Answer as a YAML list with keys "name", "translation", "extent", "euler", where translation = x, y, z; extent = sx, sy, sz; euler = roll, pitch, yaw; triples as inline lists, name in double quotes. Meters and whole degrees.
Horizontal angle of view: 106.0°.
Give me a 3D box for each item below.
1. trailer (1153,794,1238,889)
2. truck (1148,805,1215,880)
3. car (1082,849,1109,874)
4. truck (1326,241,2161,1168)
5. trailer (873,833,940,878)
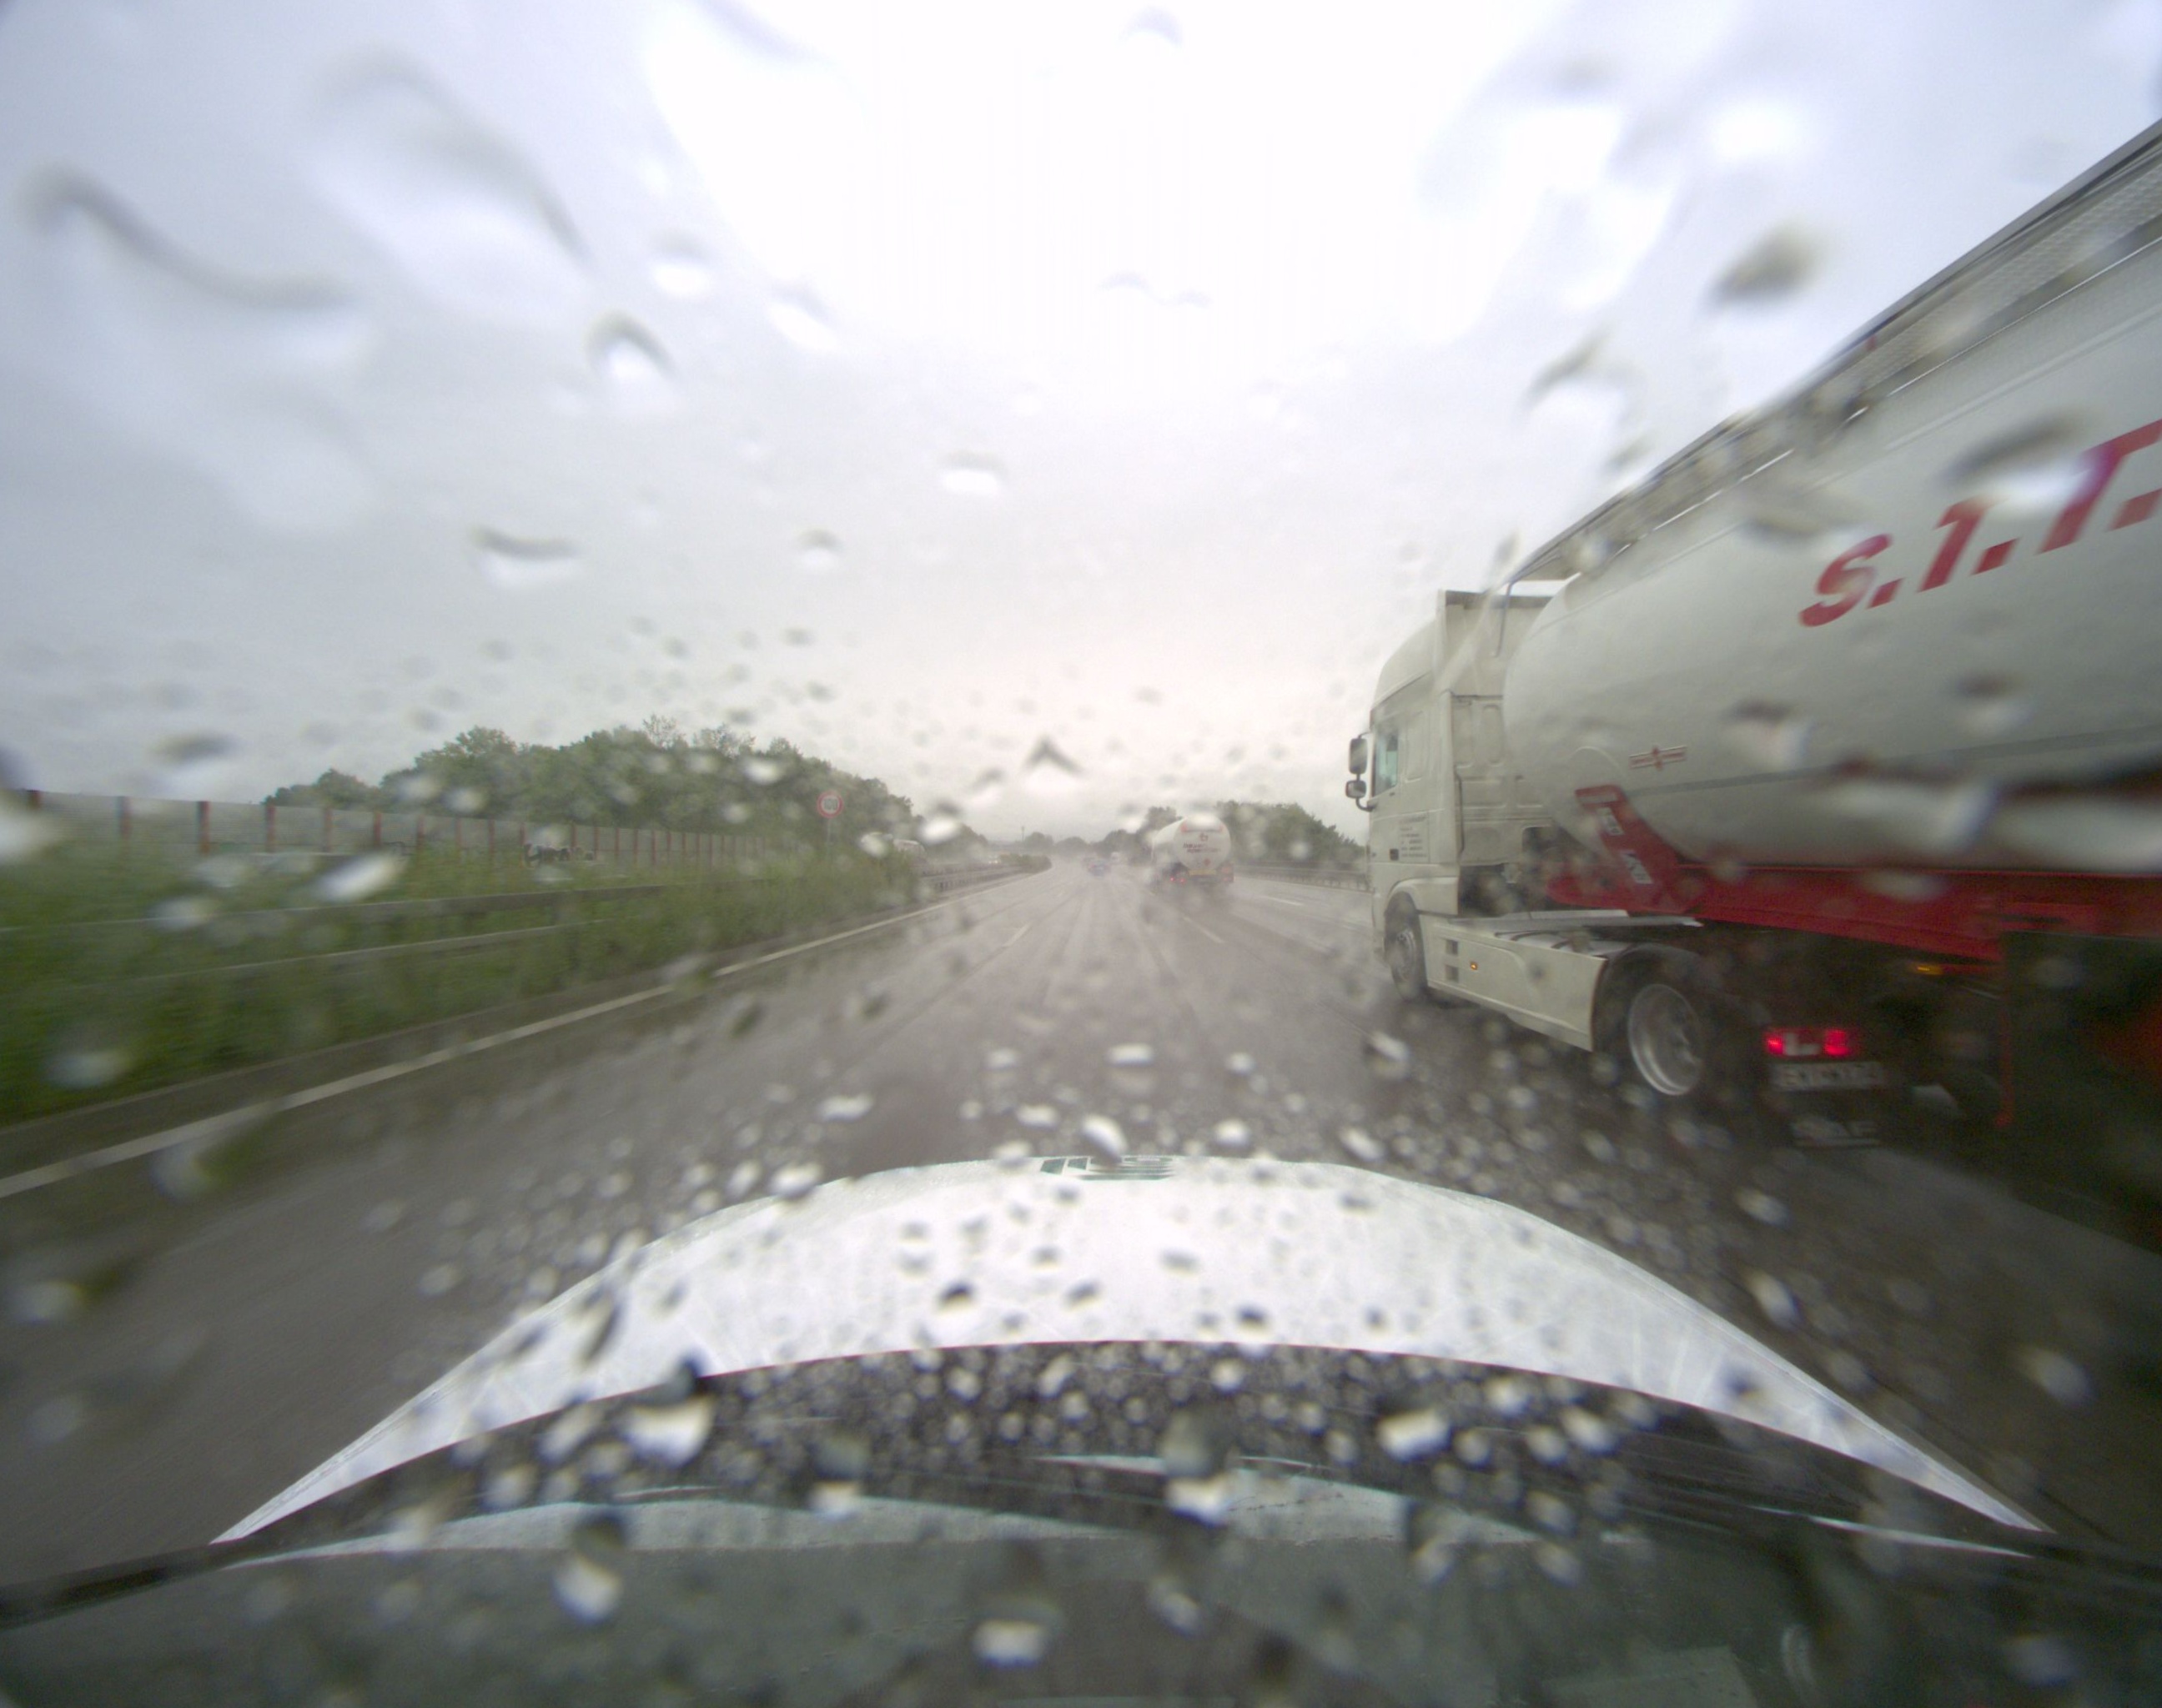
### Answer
- name: "trailer"
  translation: [5.058, -0.491, 37.682]
  extent: [2.993, 3.848, 8.628]
  euler: [-1, 0, 2]
- name: "truck"
  translation: [5.202, -0.563, 43.157]
  extent: [2.932, 3.684, 6.364]
  euler: [-1, 0, 2]
- name: "car"
  translation: [1.104, 0.525, 62.262]
  extent: [1.972, 1.756, 4.481]
  euler: [-1, 0, 0]
- name: "truck"
  translation: [4.645, -0.617, 6.950]
  extent: [3.093, 3.807, 7.215]
  euler: [-1, 0, 2]
- name: "trailer"
  translation: [-15.390, 0.135, 73.102]
  extent: [3.062, 3.612, 13.569]
  euler: [-1, 0, 0]
